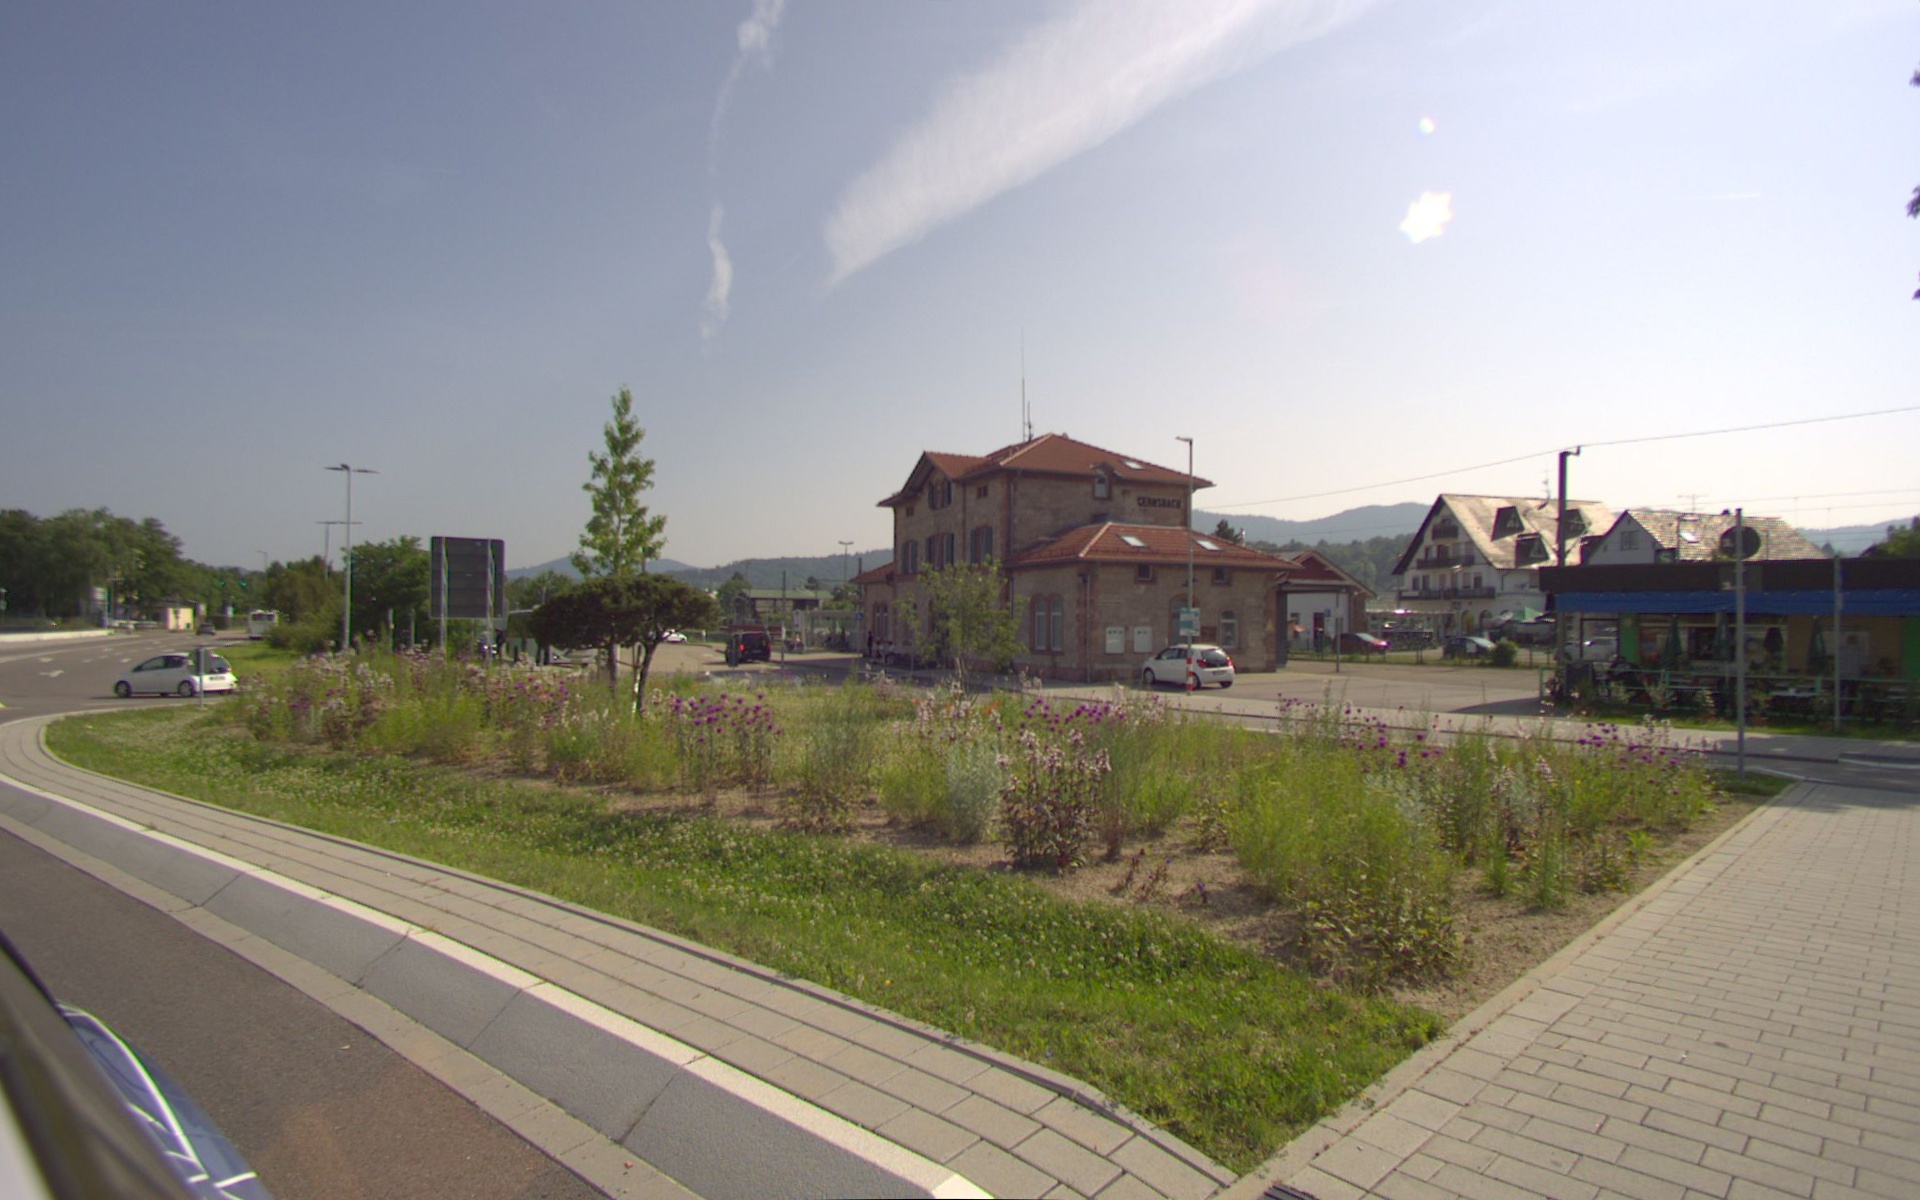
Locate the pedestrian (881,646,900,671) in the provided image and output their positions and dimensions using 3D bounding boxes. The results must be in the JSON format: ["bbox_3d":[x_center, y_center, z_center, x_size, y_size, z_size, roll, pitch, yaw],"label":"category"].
[{"bbox_3d":[-3.463,2.882,50.176,0.777,1.171,0.508,-2,0,-25],"label":"pedestrian"}]

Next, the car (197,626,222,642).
[{"bbox_3d":[-90.064,4.100,121.455,1.858,1.807,4.003,-1,0,-44],"label":"car"}]

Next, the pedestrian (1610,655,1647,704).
[{"bbox_3d":[16.801,1.979,25.439,0.681,1.173,0.551,-2,-1,42],"label":"pedestrian"}]

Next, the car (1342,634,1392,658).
[{"bbox_3d":[29.340,3.300,73.118,1.581,1.506,3.659,-1,1,-11],"label":"car"}]

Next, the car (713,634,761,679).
[{"bbox_3d":[-11.274,2.793,50.931,1.945,1.979,5.173,-2,0,-17],"label":"car"}]

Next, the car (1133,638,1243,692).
[{"bbox_3d":[7.908,2.218,35.383,1.651,1.580,3.662,-1,1,-30],"label":"car"}]

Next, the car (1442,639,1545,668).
[{"bbox_3d":[23.595,2.376,44.876,1.406,1.187,3.748,-1,-2,-38],"label":"car"}]

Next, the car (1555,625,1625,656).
[{"bbox_3d":[39.949,2.557,64.132,3.931,1.740,1.844,-2,0,-24],"label":"car"}]

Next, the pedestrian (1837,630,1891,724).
[{"bbox_3d":[20.349,1.708,22.796,0.706,2.029,0.850,-2,0,31],"label":"pedestrian"}]

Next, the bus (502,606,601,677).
[{"bbox_3d":[-22.051,2.137,54.211,2.546,3.354,10.615,-1,0,-35],"label":"bus"}]

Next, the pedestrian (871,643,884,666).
[{"bbox_3d":[-4.242,2.820,52.218,0.503,1.171,0.508,-2,0,-25],"label":"pedestrian"}]

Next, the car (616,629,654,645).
[{"bbox_3d":[-38.531,4.334,120.081,3.941,1.740,1.839,-2,0,-44],"label":"car"}]

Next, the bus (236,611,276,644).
[{"bbox_3d":[-71.635,2.760,103.139,2.821,3.216,9.144,0,-1,-32],"label":"bus"}]

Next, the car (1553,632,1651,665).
[{"bbox_3d":[34.382,2.567,54.274,1.752,1.630,4.012,-2,-1,-30],"label":"car"}]

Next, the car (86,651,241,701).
[{"bbox_3d":[-26.081,2.479,33.197,3.953,1.408,1.778,-2,0,8],"label":"car"}]

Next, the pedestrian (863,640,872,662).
[{"bbox_3d":[-5.203,2.869,56.938,0.365,1.171,0.508,-2,0,-25],"label":"pedestrian"}]
